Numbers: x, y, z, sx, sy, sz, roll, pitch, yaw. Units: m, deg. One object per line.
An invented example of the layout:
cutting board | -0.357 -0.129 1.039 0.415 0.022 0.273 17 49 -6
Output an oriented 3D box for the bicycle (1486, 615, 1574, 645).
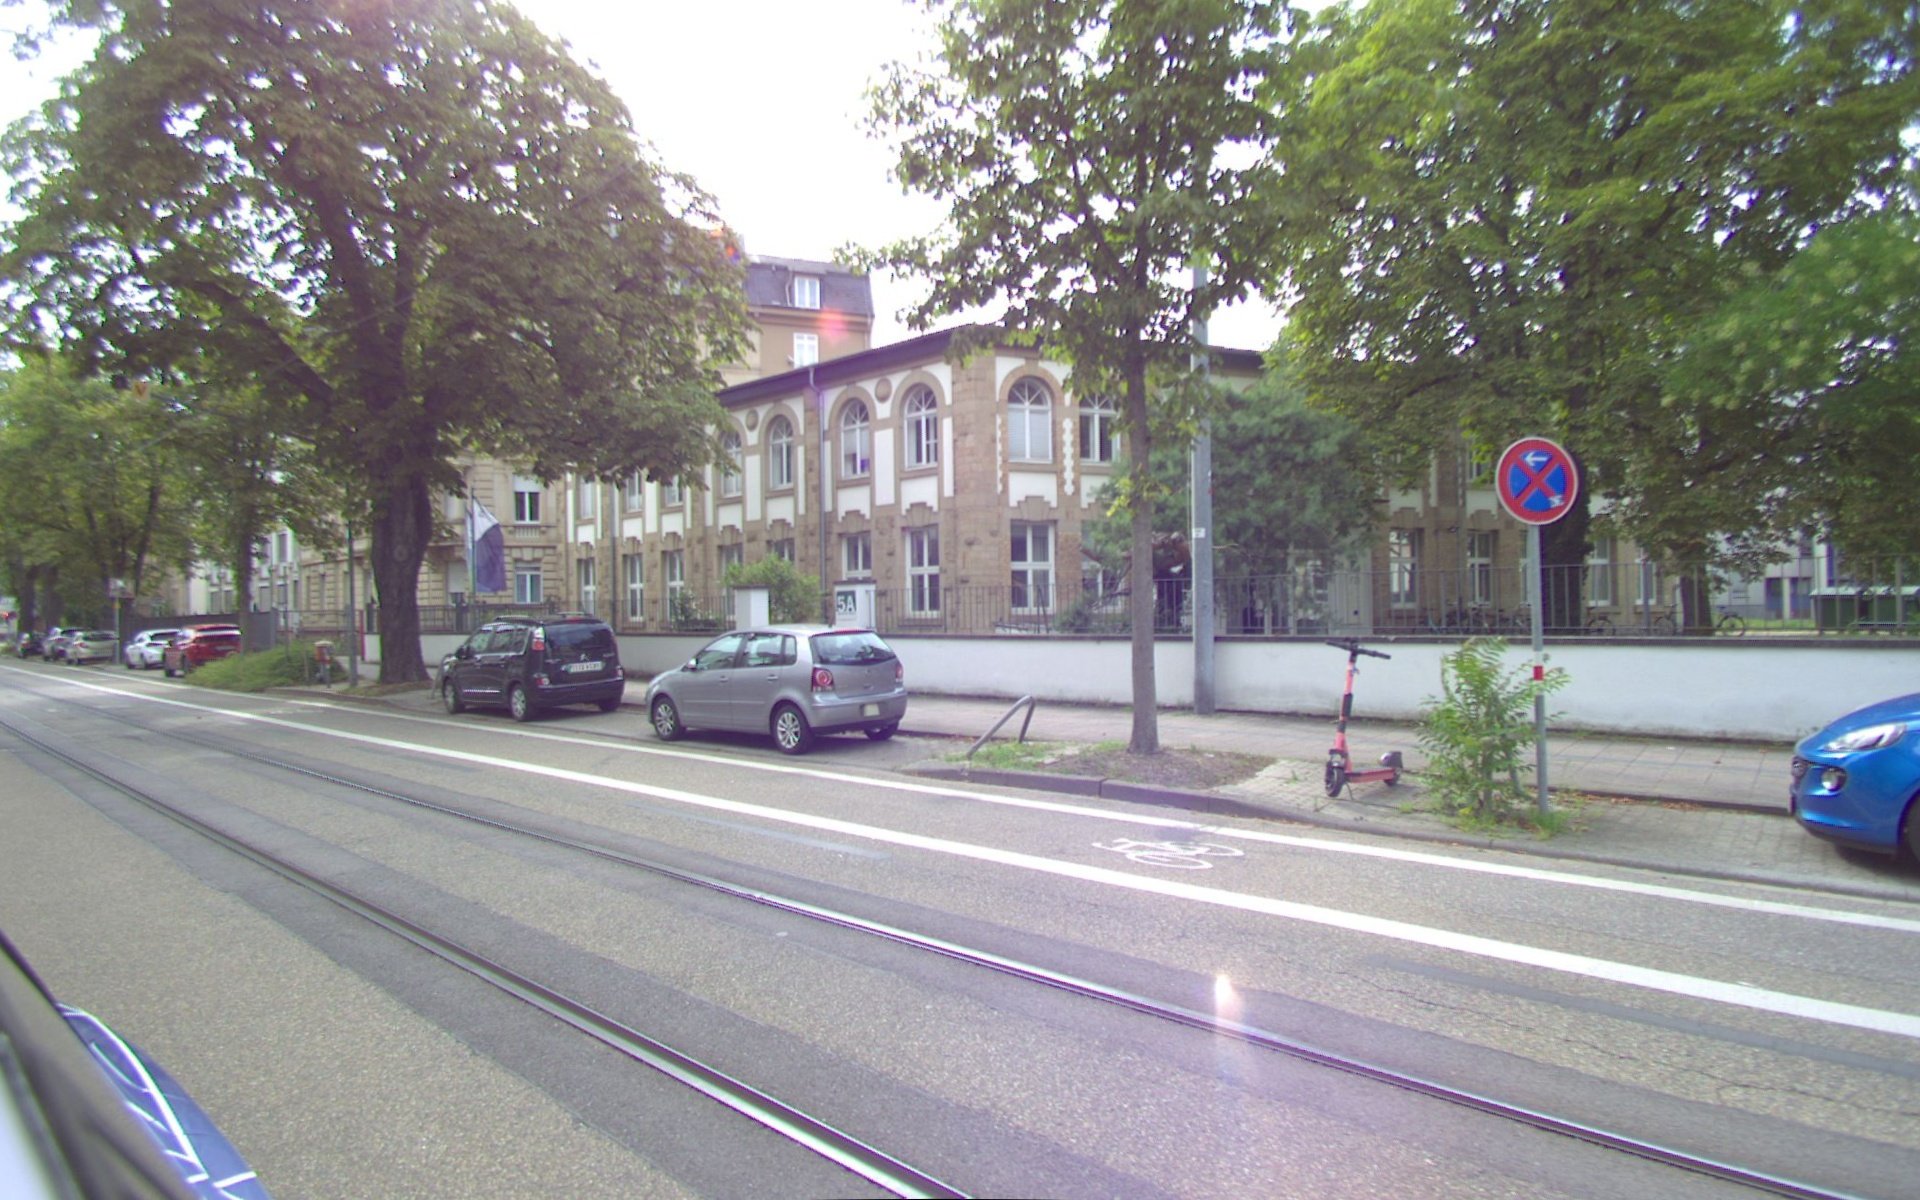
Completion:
bicycle | 15.859 0.835 28.193 0.702 0.779 2.053 -2 0 -29

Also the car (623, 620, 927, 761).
car | -2.409 1.027 12.691 3.866 1.438 1.676 -2 0 41

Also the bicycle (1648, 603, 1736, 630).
bicycle | 22.179 0.503 30.709 0.702 0.779 2.053 -2 0 -29

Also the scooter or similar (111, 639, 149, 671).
scooter or similar | -33.135 2.188 40.411 1.312 1.232 0.559 -2 -1 18

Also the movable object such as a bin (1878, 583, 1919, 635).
movable object such as a bin | 25.848 0.233 27.339 0.954 1.385 1.208 -2 0 -23

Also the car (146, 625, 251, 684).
car | -24.421 1.709 32.403 4.539 1.667 1.704 -2 1 40

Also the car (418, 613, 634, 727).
car | -7.429 1.114 17.139 4.050 1.659 1.738 -2 0 41

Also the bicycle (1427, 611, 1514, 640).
bicycle | 13.782 0.686 27.371 0.702 0.713 2.053 -2 0 -29

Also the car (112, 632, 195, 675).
car | -30.652 2.012 38.430 4.020 1.434 1.704 -2 1 40

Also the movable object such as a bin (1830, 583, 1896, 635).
movable object such as a bin | 25.430 0.252 28.518 0.954 1.385 1.024 -2 0 -23

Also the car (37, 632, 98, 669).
car | -44.140 2.491 49.998 4.354 1.686 1.693 -2 -1 41

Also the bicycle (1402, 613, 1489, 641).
bicycle | 12.916 0.715 27.005 0.702 0.713 2.053 -2 0 -29

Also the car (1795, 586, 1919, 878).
car | 6.551 0.643 5.011 3.675 1.498 1.676 -2 0 41

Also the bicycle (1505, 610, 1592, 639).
bicycle | 16.660 0.693 28.692 0.702 0.779 2.053 -2 0 -29

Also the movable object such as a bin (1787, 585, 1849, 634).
movable object such as a bin | 25.033 0.271 29.538 0.954 1.385 1.024 -2 0 -23

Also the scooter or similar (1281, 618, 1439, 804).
scooter or similar | 3.256 0.834 8.187 0.700 1.354 1.428 -2 -3 43

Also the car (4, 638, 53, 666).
car | -53.278 2.946 57.873 4.166 1.435 1.701 -2 1 43

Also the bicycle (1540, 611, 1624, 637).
bicycle | 18.170 0.706 29.578 2.041 0.713 0.706 -2 0 34

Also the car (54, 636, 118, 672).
car | -38.688 2.375 44.768 4.077 1.479 1.584 -2 -1 41
